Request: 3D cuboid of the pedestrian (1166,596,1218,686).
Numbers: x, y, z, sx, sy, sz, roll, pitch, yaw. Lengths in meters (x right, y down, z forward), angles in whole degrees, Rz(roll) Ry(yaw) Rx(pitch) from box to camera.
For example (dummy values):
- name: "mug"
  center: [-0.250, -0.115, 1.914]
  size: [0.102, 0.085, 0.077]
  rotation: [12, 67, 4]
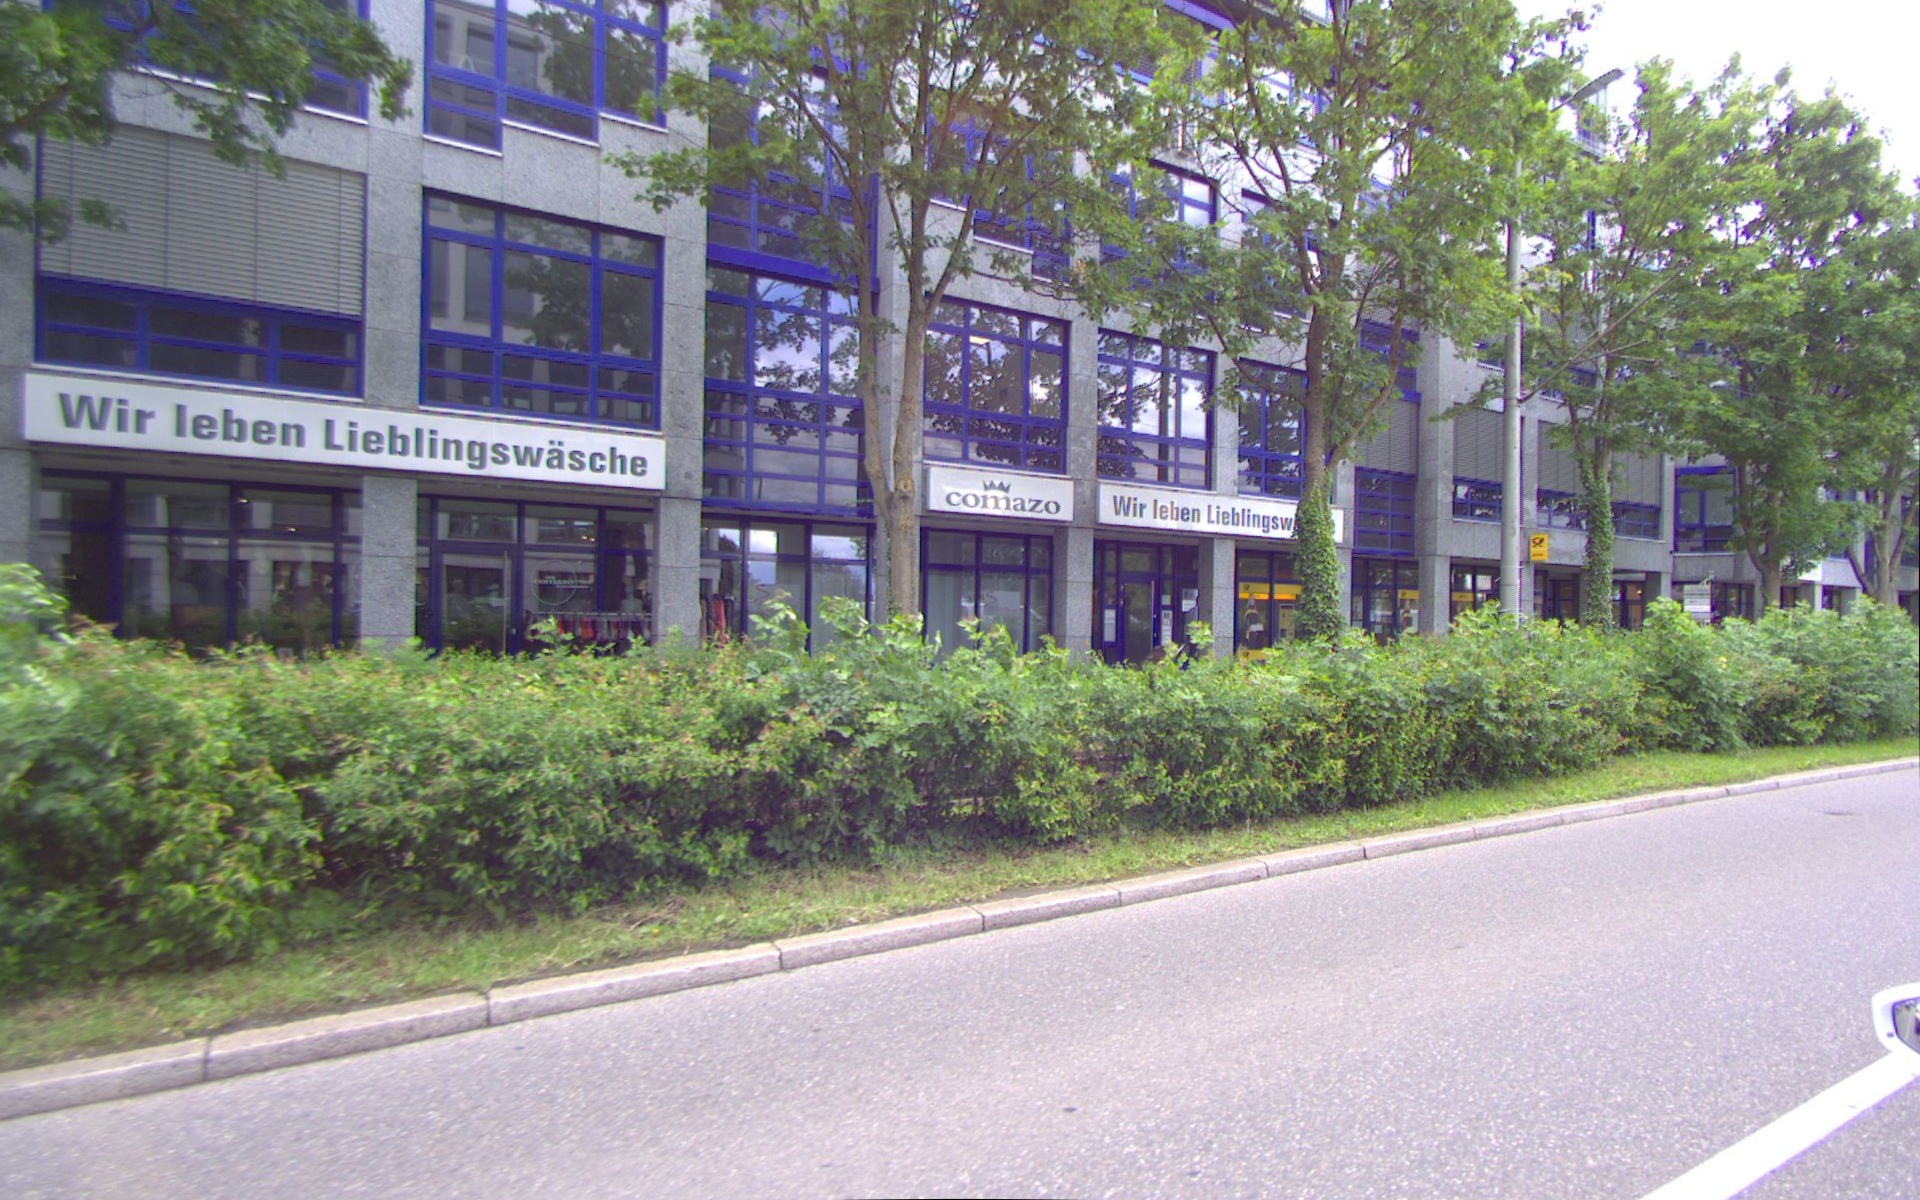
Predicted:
- name: "pedestrian"
  center: [5.091, 0.888, 22.064]
  size: [0.723, 1.919, 0.770]
  rotation: [2, 0, -31]
